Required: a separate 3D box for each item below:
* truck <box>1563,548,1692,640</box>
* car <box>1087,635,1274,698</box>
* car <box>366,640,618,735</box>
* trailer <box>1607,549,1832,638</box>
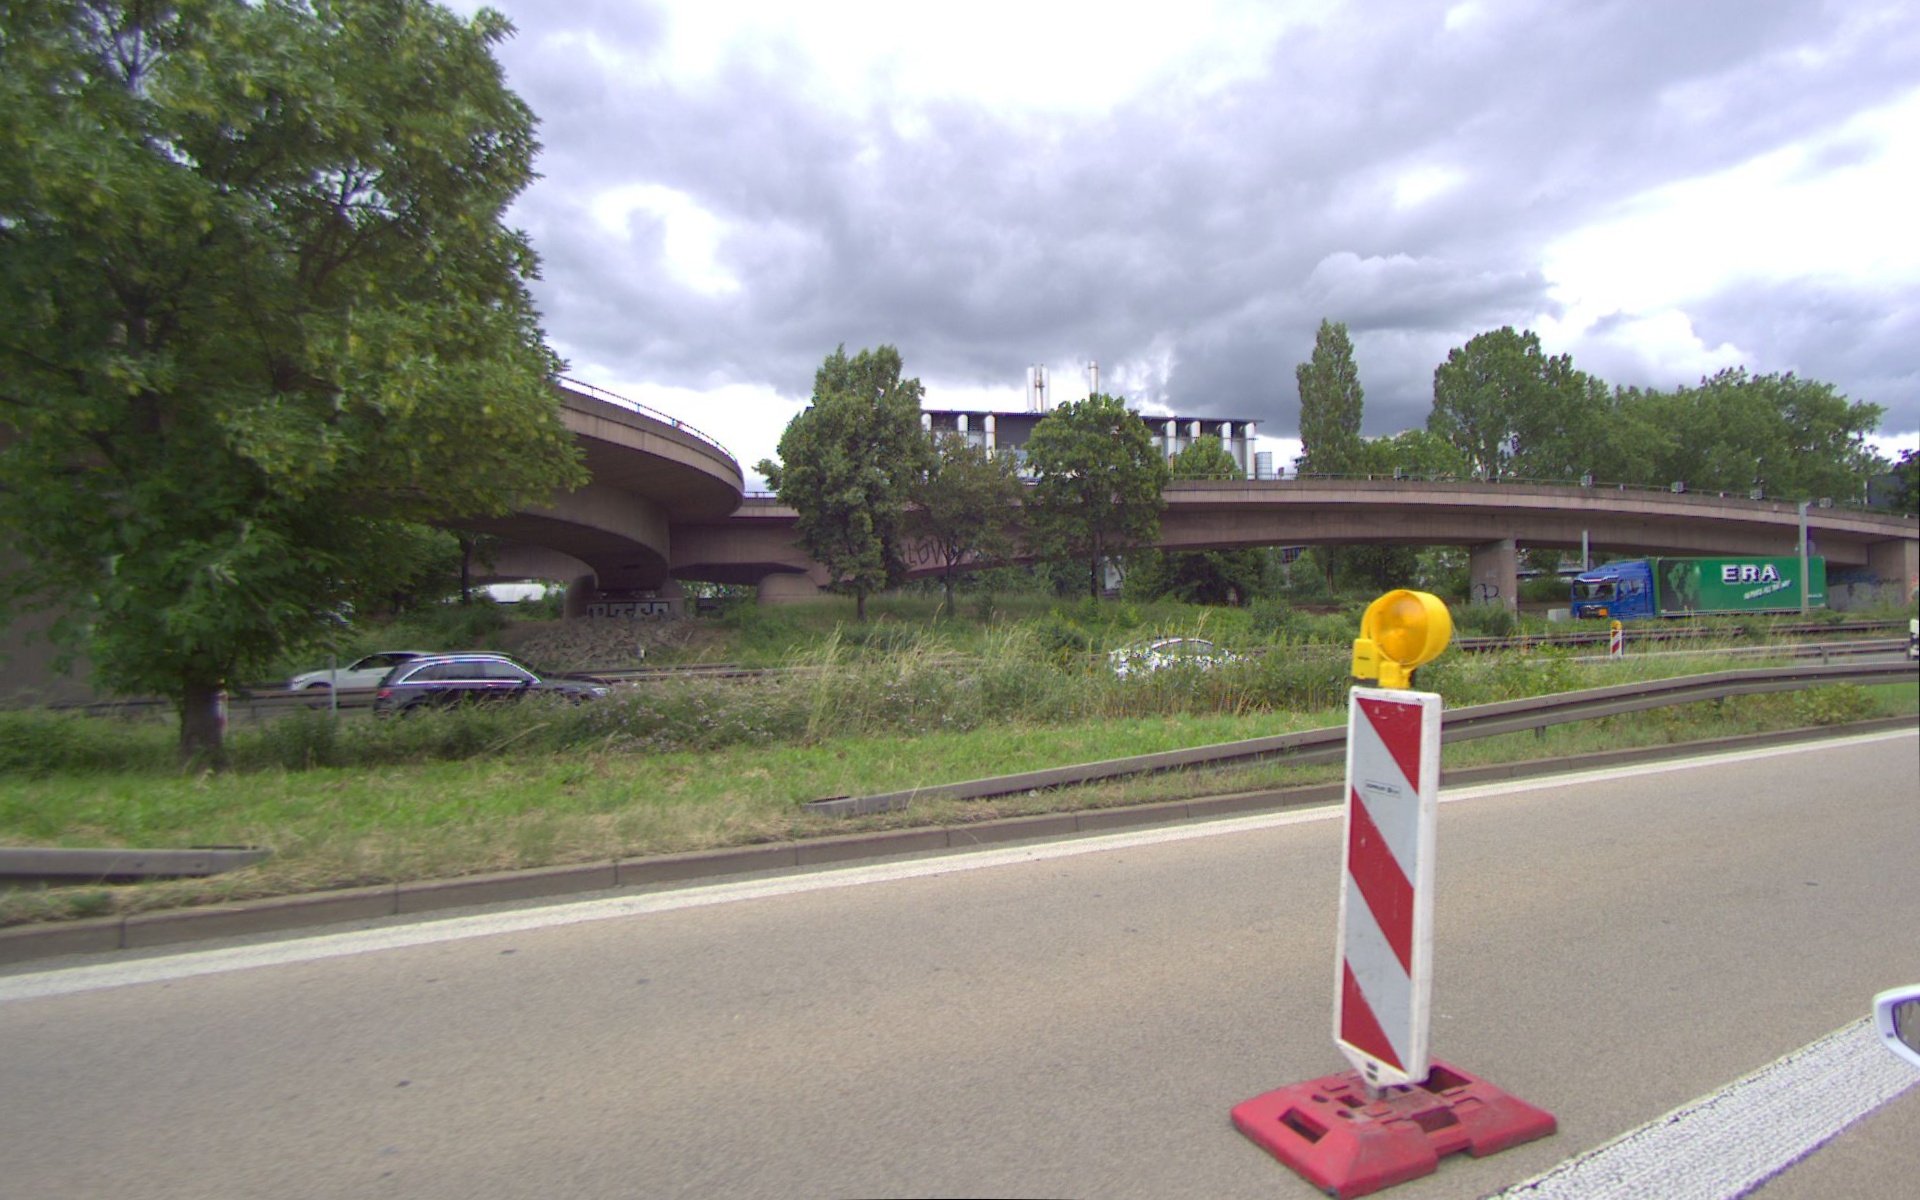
[{"bbox_3d":[33.086,-0.308,49.792,5.421,4.329,2.748,-1,0,-21],"label":"truck"},{"bbox_3d":[6.072,1.787,27.679,4.729,1.475,1.990,-1,0,-21],"label":"car"},{"bbox_3d":[-9.509,1.723,20.828,4.509,1.636,2.034,-1,0,-21],"label":"car"},{"bbox_3d":[39.916,-0.360,52.585,13.774,4.351,2.766,-1,0,-22],"label":"trailer"}]
